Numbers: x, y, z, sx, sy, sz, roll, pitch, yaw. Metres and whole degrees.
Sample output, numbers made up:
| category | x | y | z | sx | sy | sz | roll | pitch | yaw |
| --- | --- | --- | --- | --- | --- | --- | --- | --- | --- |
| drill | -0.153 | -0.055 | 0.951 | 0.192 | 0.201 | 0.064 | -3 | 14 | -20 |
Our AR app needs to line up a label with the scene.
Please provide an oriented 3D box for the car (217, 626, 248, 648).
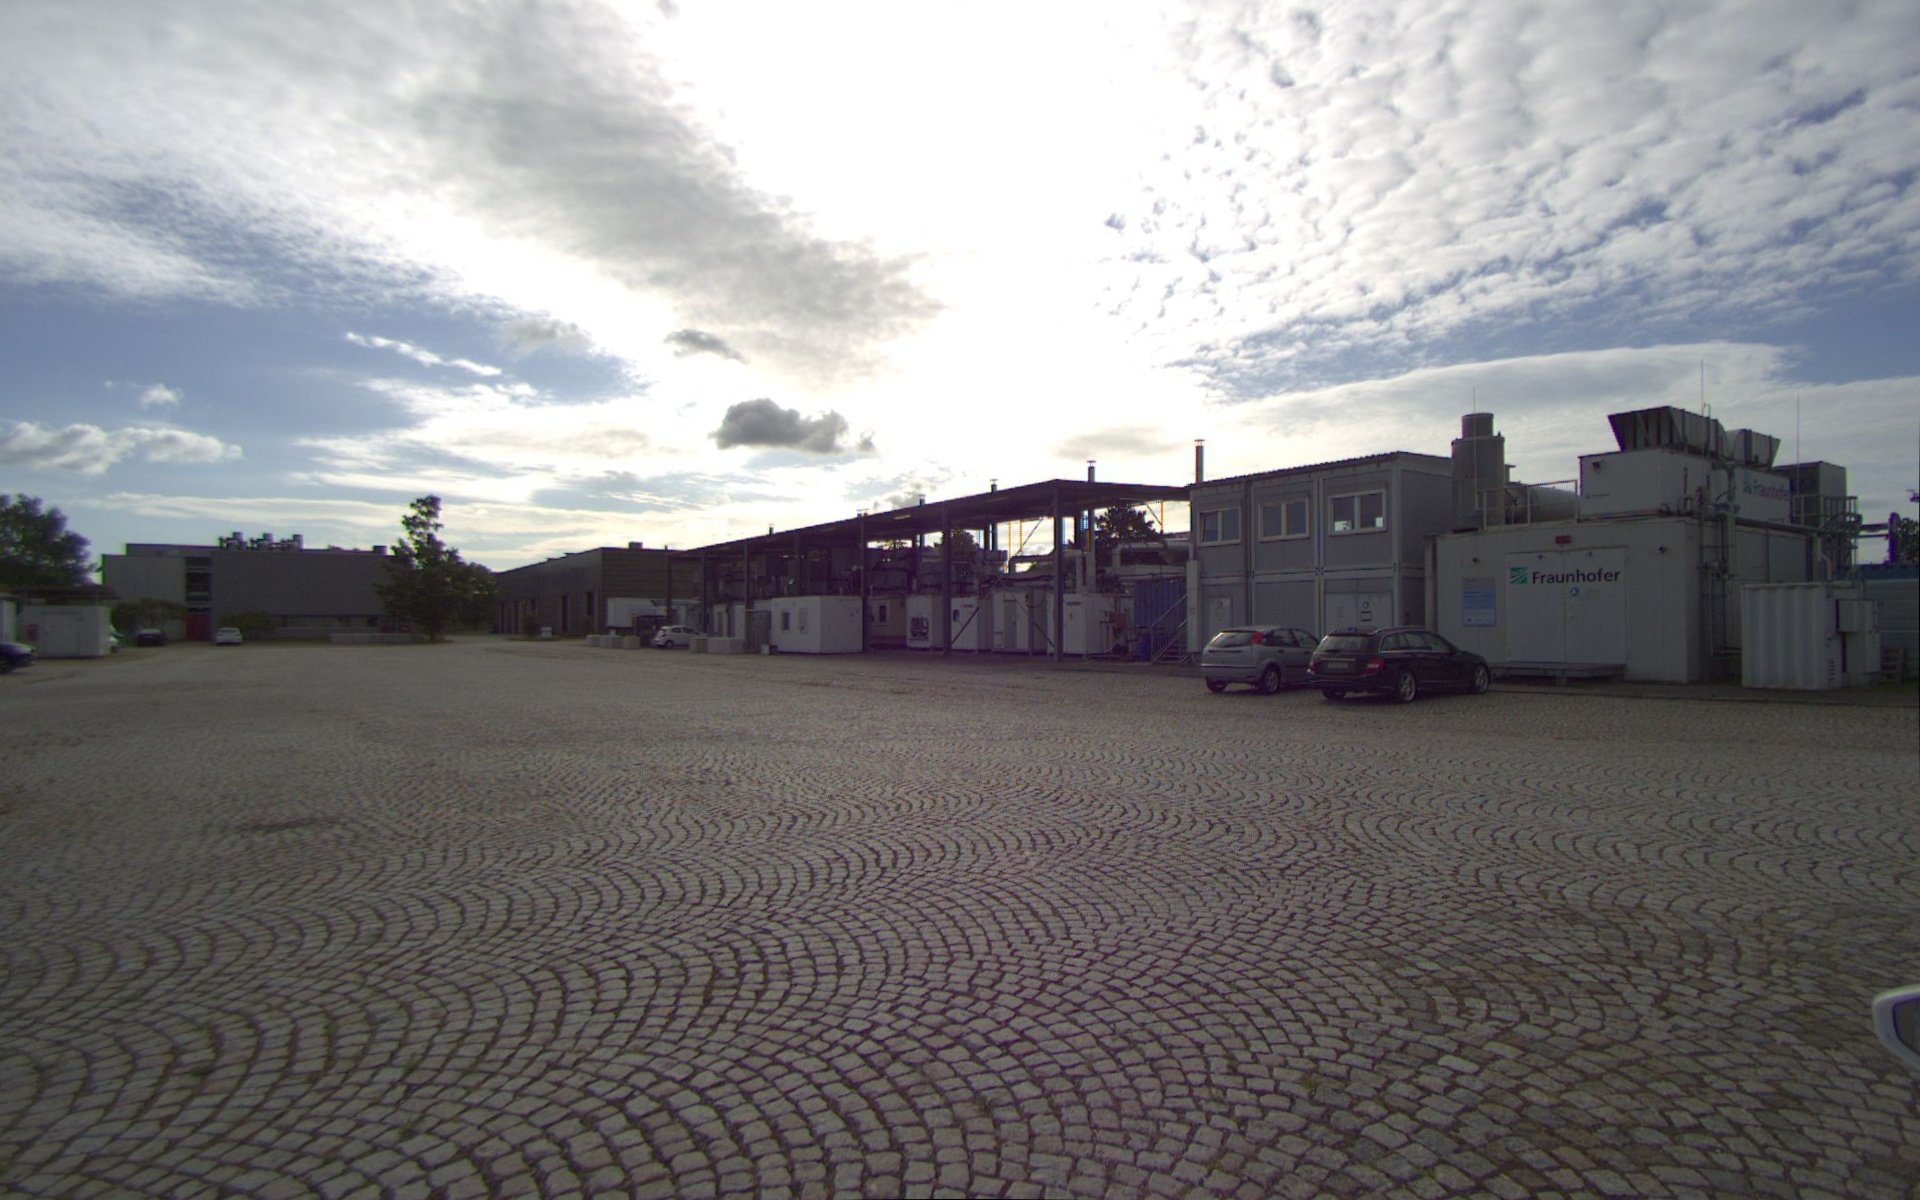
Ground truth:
| category | x | y | z | sx | sy | sz | roll | pitch | yaw |
| --- | --- | --- | --- | --- | --- | --- | --- | --- | --- |
| car | -63.004 | 3.228 | 87.052 | 2.133 | 1.834 | 3.961 | 1 | -2 | -35 |

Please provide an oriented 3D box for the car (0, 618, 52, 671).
| category | x | y | z | sx | sy | sz | roll | pitch | yaw |
| --- | --- | --- | --- | --- | --- | --- | --- | --- | --- |
| car | -34.379 | 1.582 | 34.582 | 4.393 | 1.779 | 1.981 | 1 | -4 | -36 |

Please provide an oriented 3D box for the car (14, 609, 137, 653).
| category | x | y | z | sx | sy | sz | roll | pitch | yaw |
| --- | --- | --- | --- | --- | --- | --- | --- | --- | --- |
| car | -55.812 | 1.924 | 63.538 | 5.576 | 2.649 | 2.428 | 1 | -2 | -36 |

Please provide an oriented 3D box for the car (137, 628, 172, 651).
| category | x | y | z | sx | sy | sz | roll | pitch | yaw |
| --- | --- | --- | --- | --- | --- | --- | --- | --- | --- |
| car | -66.998 | 3.291 | 83.621 | 1.980 | 1.834 | 3.961 | 1 | -2 | -35 |

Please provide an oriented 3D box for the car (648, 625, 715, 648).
| category | x | y | z | sx | sy | sz | roll | pitch | yaw |
| --- | --- | --- | --- | --- | --- | --- | --- | --- | --- |
| car | -18.903 | 2.470 | 68.168 | 3.962 | 1.512 | 1.980 | 1 | -2 | -36 |

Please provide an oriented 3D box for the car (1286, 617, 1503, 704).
| category | x | y | z | sx | sy | sz | roll | pitch | yaw |
| --- | --- | --- | --- | --- | --- | --- | --- | --- | --- |
| car | 8.933 | 1.153 | 20.522 | 4.484 | 1.472 | 2.023 | -1 | 0 | -35 |

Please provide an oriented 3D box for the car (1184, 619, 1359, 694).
| category | x | y | z | sx | sy | sz | roll | pitch | yaw |
| --- | --- | --- | --- | --- | --- | --- | --- | --- | --- |
| car | 7.267 | 1.238 | 23.309 | 4.009 | 1.495 | 1.893 | -1 | -1 | -37 |

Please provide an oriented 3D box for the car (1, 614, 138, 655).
| category | x | y | z | sx | sy | sz | roll | pitch | yaw |
| --- | --- | --- | --- | --- | --- | --- | --- | --- | --- |
| car | -50.323 | 1.912 | 56.974 | 5.576 | 2.248 | 2.428 | 1 | -2 | -36 |
